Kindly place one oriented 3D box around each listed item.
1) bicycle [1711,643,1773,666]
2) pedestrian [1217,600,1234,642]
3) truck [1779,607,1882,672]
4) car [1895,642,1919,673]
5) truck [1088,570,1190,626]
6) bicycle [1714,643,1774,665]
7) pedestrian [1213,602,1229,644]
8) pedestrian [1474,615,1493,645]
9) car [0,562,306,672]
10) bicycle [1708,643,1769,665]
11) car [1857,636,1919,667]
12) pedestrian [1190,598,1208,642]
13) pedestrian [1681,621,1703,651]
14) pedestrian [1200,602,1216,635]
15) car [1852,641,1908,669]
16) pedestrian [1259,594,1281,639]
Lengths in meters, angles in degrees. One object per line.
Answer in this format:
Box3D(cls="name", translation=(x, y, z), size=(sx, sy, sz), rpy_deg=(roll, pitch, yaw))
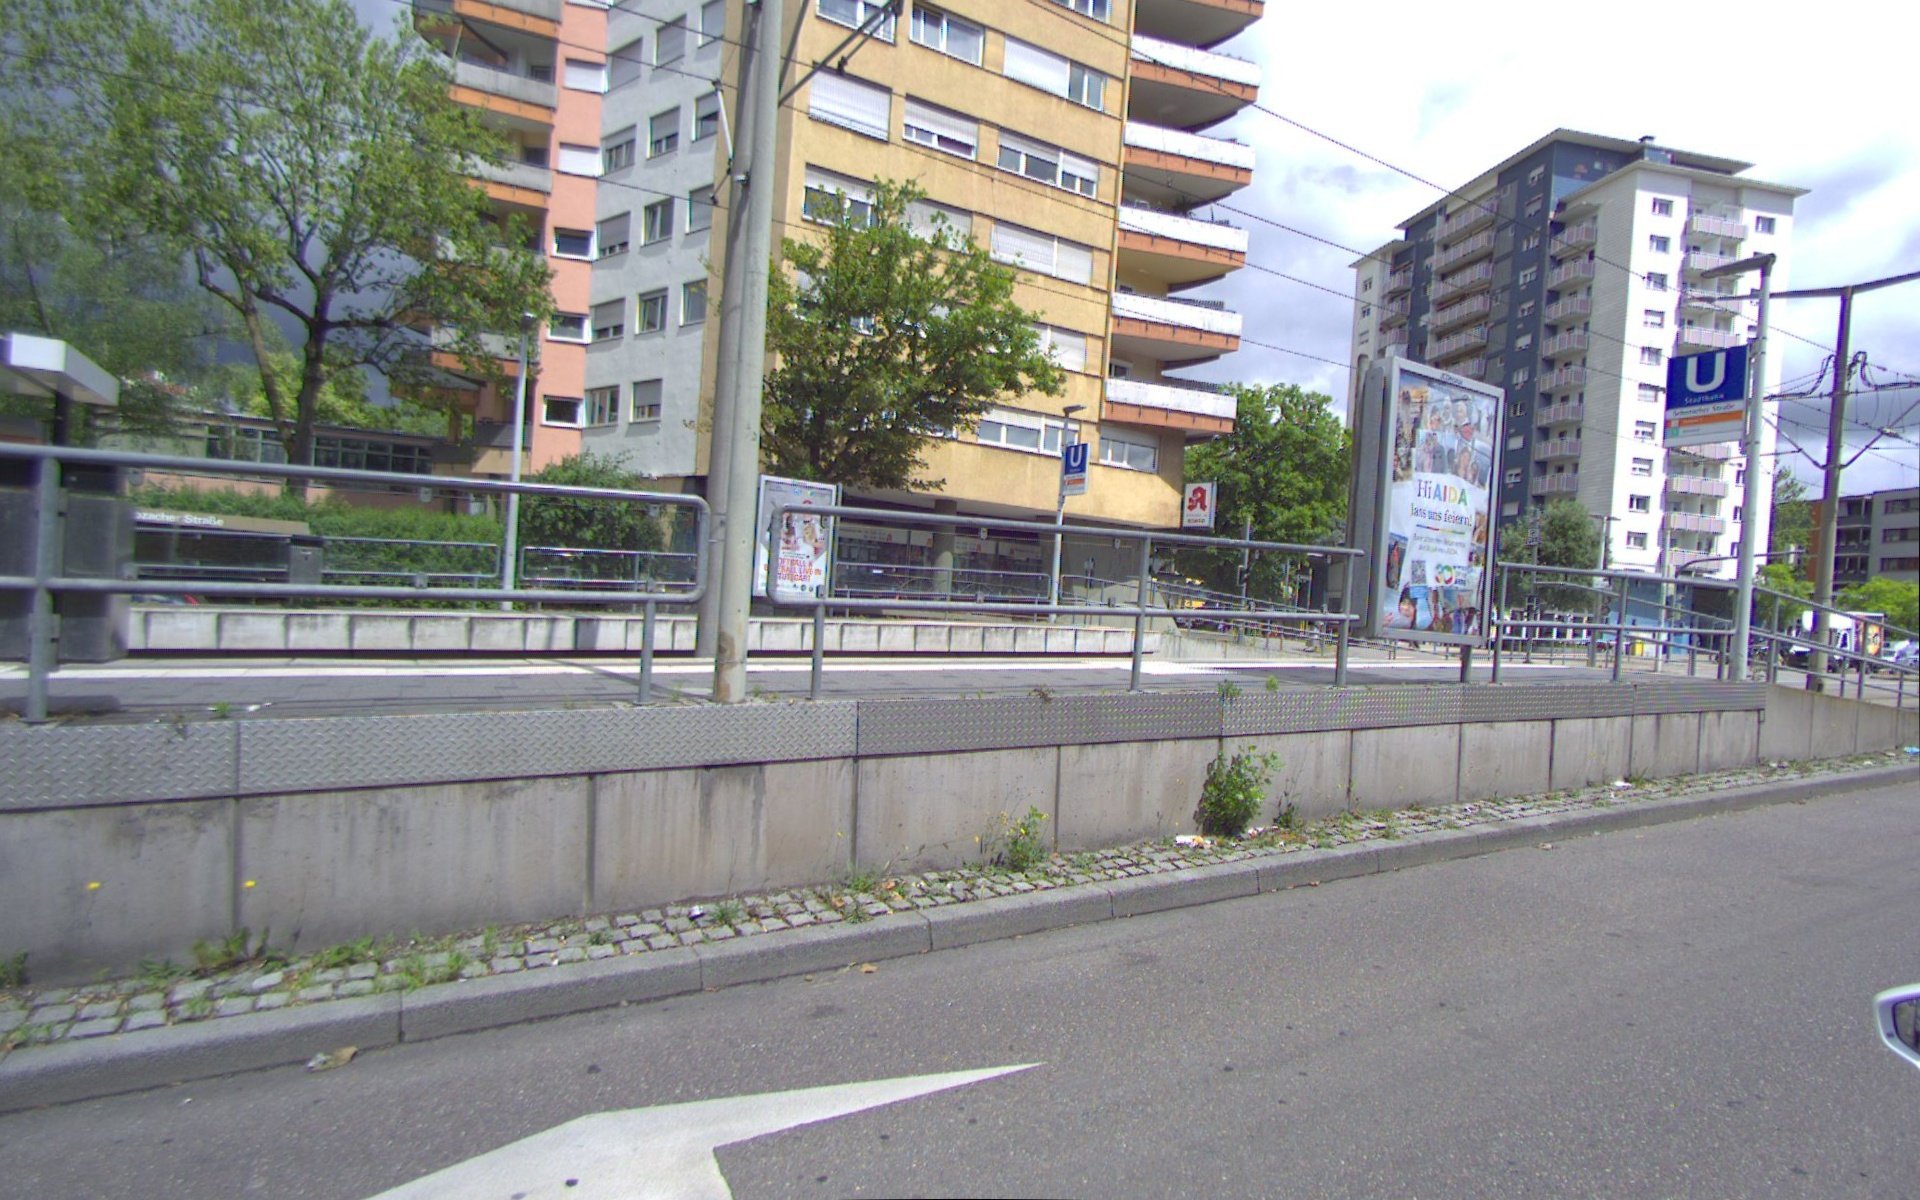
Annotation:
Box3D(cls="bicycle", translation=(42.147, 2.943, 54.202), size=(2.521, 1.022, 0.754), rpy_deg=(4, 0, 33))
Box3D(cls="pedestrian", translation=(13.329, 1.053, 50.373), size=(0.593, 2.040, 0.558), rpy_deg=(2, 0, 38))
Box3D(cls="truck", translation=(45.710, 2.096, 52.691), size=(7.244, 3.159, 2.267), rpy_deg=(2, 0, -34))
Box3D(cls="car", translation=(58.055, 3.498, 60.490), size=(3.732, 1.780, 1.583), rpy_deg=(2, 0, -31))
Box3D(cls="truck", translation=(7.993, -0.110, 45.240), size=(2.323, 2.320, 4.260), rpy_deg=(2, 0, -29))
Box3D(cls="bicycle", translation=(43.425, 2.986, 55.679), size=(2.521, 1.022, 0.754), rpy_deg=(4, 0, 33))
Box3D(cls="pedestrian", translation=(12.818, 1.107, 49.376), size=(0.532, 2.040, 0.560), rpy_deg=(1, 0, 38))
Box3D(cls="pedestrian", translation=(35.963, 2.047, 68.998), size=(0.831, 2.040, 0.861), rpy_deg=(2, 0, -2))
Box3D(cls="car", translation=(-11.734, 0.252, 14.416), size=(3.820, 1.424, 1.571), rpy_deg=(2, 0, -30))
Box3D(cls="bicycle", translation=(42.566, 2.956, 54.986), size=(2.521, 1.022, 0.754), rpy_deg=(4, 0, 33))
Box3D(cls="car", translation=(64.440, 3.549, 68.994), size=(3.846, 2.001, 1.657), rpy_deg=(2, 0, 18))
Box3D(cls="pedestrian", translation=(11.100, 0.935, 46.687), size=(0.532, 2.040, 0.559), rpy_deg=(2, 0, -23))
Box3D(cls="pedestrian", translation=(51.643, 2.532, 70.890), size=(0.832, 2.040, 0.860), rpy_deg=(2, 0, -12))
Box3D(cls="pedestrian", translation=(11.271, 0.840, 45.639), size=(0.542, 1.459, 0.497), rpy_deg=(2, -3, -24))
Box3D(cls="car", translation=(52.281, 3.121, 57.070), size=(3.733, 1.480, 1.399), rpy_deg=(2, 0, -32))
Box3D(cls="pedestrian", translation=(12.575, 0.677, 40.792), size=(0.649, 1.799, 0.658), rpy_deg=(2, 0, -1))
